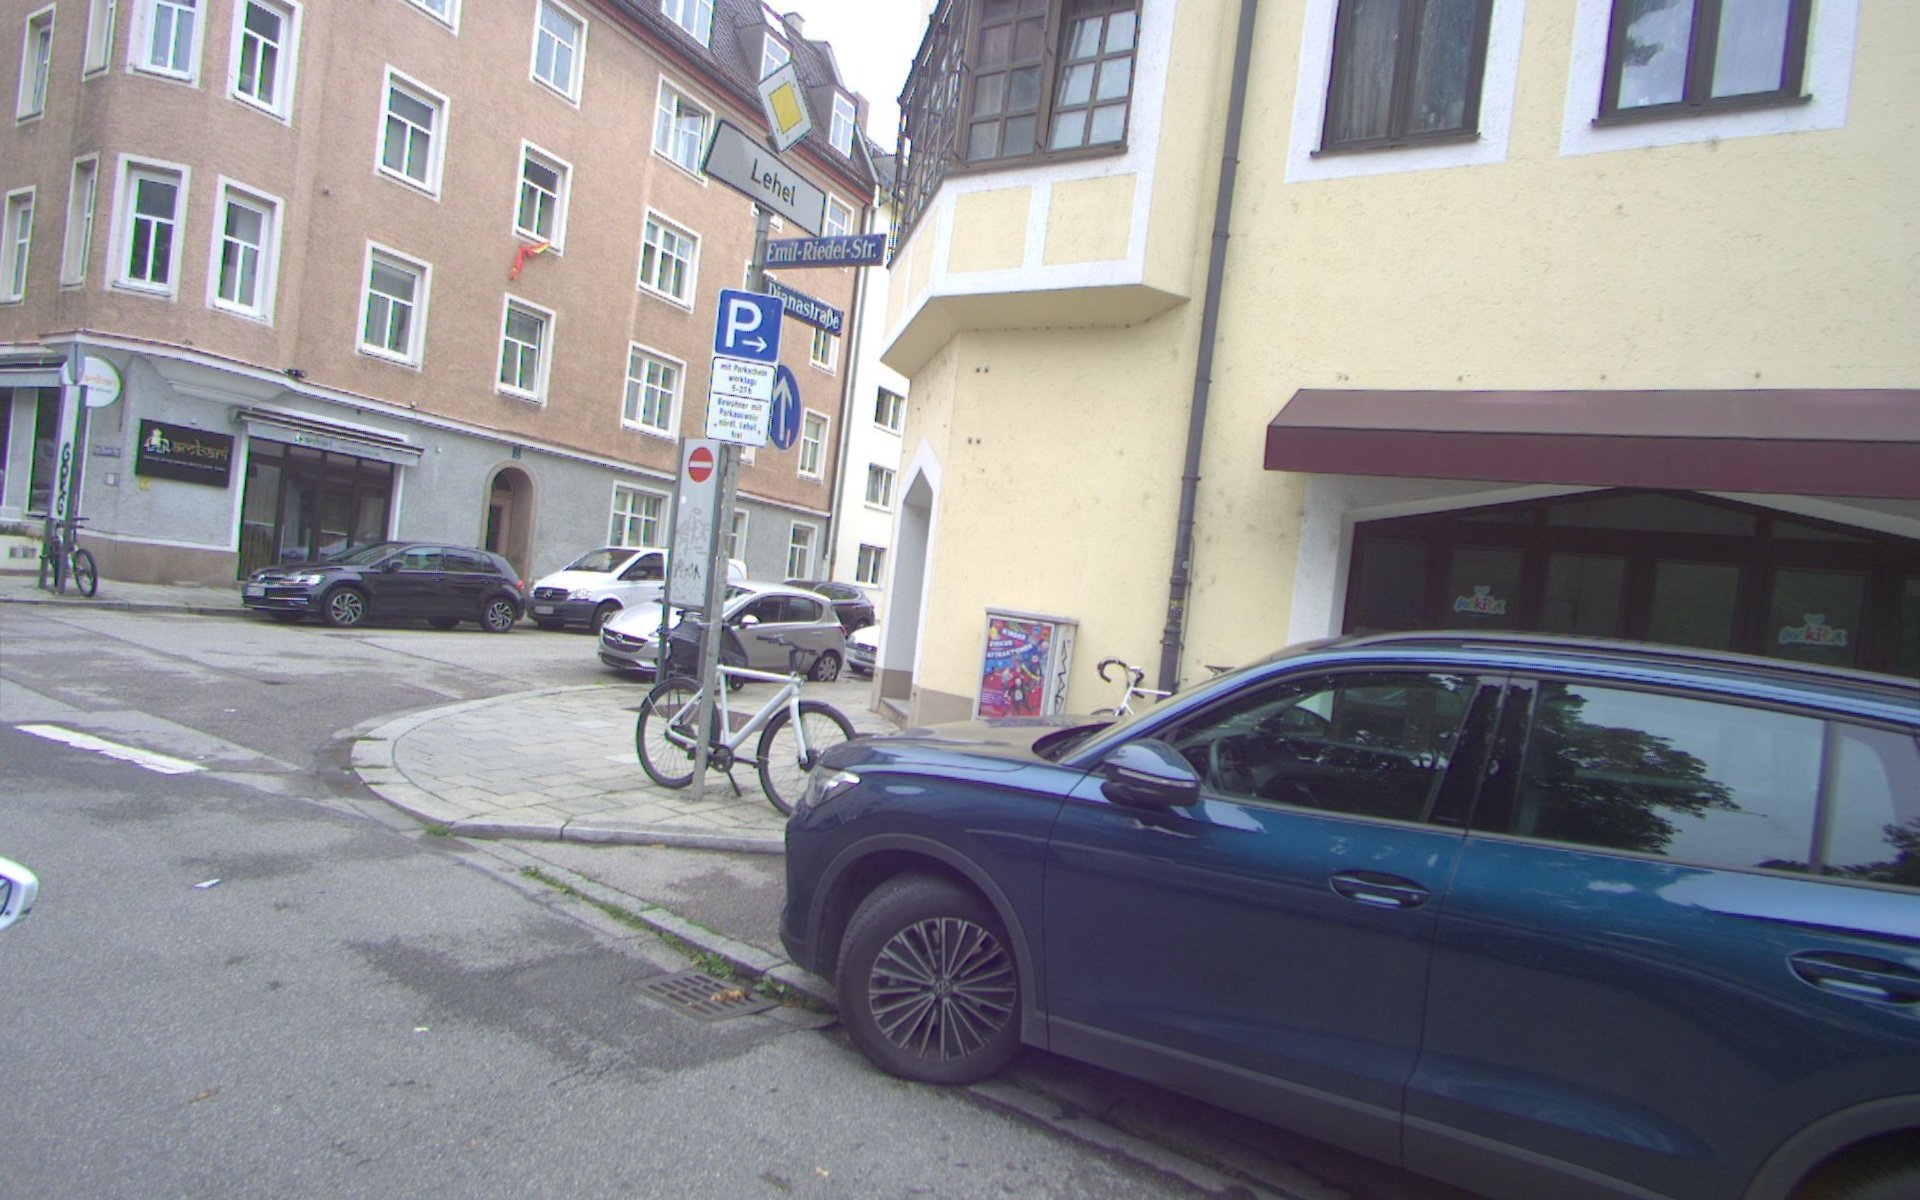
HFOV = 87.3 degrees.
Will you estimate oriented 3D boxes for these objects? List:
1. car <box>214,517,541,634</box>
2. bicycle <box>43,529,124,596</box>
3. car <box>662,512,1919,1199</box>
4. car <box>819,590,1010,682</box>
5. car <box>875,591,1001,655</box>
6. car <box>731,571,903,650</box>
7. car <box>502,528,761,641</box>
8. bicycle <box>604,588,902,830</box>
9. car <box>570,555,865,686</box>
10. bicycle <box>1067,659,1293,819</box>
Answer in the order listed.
[{"bbox_3d":[-9.311,-0.318,16.448,1.893,1.446,4.177,5,-1,30],"label":"car"},{"bbox_3d":[-12.721,-0.547,14.593,1.304,0.815,0.457,7,0,32],"label":"bicycle"},{"bbox_3d":[1.343,0.794,3.290,4.435,1.701,1.820,7,1,31],"label":"car"},{"bbox_3d":[-0.778,0.748,19.584,1.717,1.394,3.812,9,1,32],"label":"car"},{"bbox_3d":[-0.629,0.787,32.625,2.064,1.707,4.355,5,-1,30],"label":"car"},{"bbox_3d":[-3.691,0.335,26.906,2.064,1.707,4.616,5,-1,29],"label":"car"},{"bbox_3d":[-6.811,-0.239,21.538,2.064,1.876,5.136,5,-1,29],"label":"car"},{"bbox_3d":[-1.389,0.646,6.542,1.963,1.222,0.514,7,0,32],"label":"bicycle"},{"bbox_3d":[-3.373,0.381,14.769,1.717,1.475,4.042,9,1,32],"label":"car"},{"bbox_3d":[1.730,1.077,8.060,1.656,0.989,0.271,7,0,30],"label":"bicycle"}]
